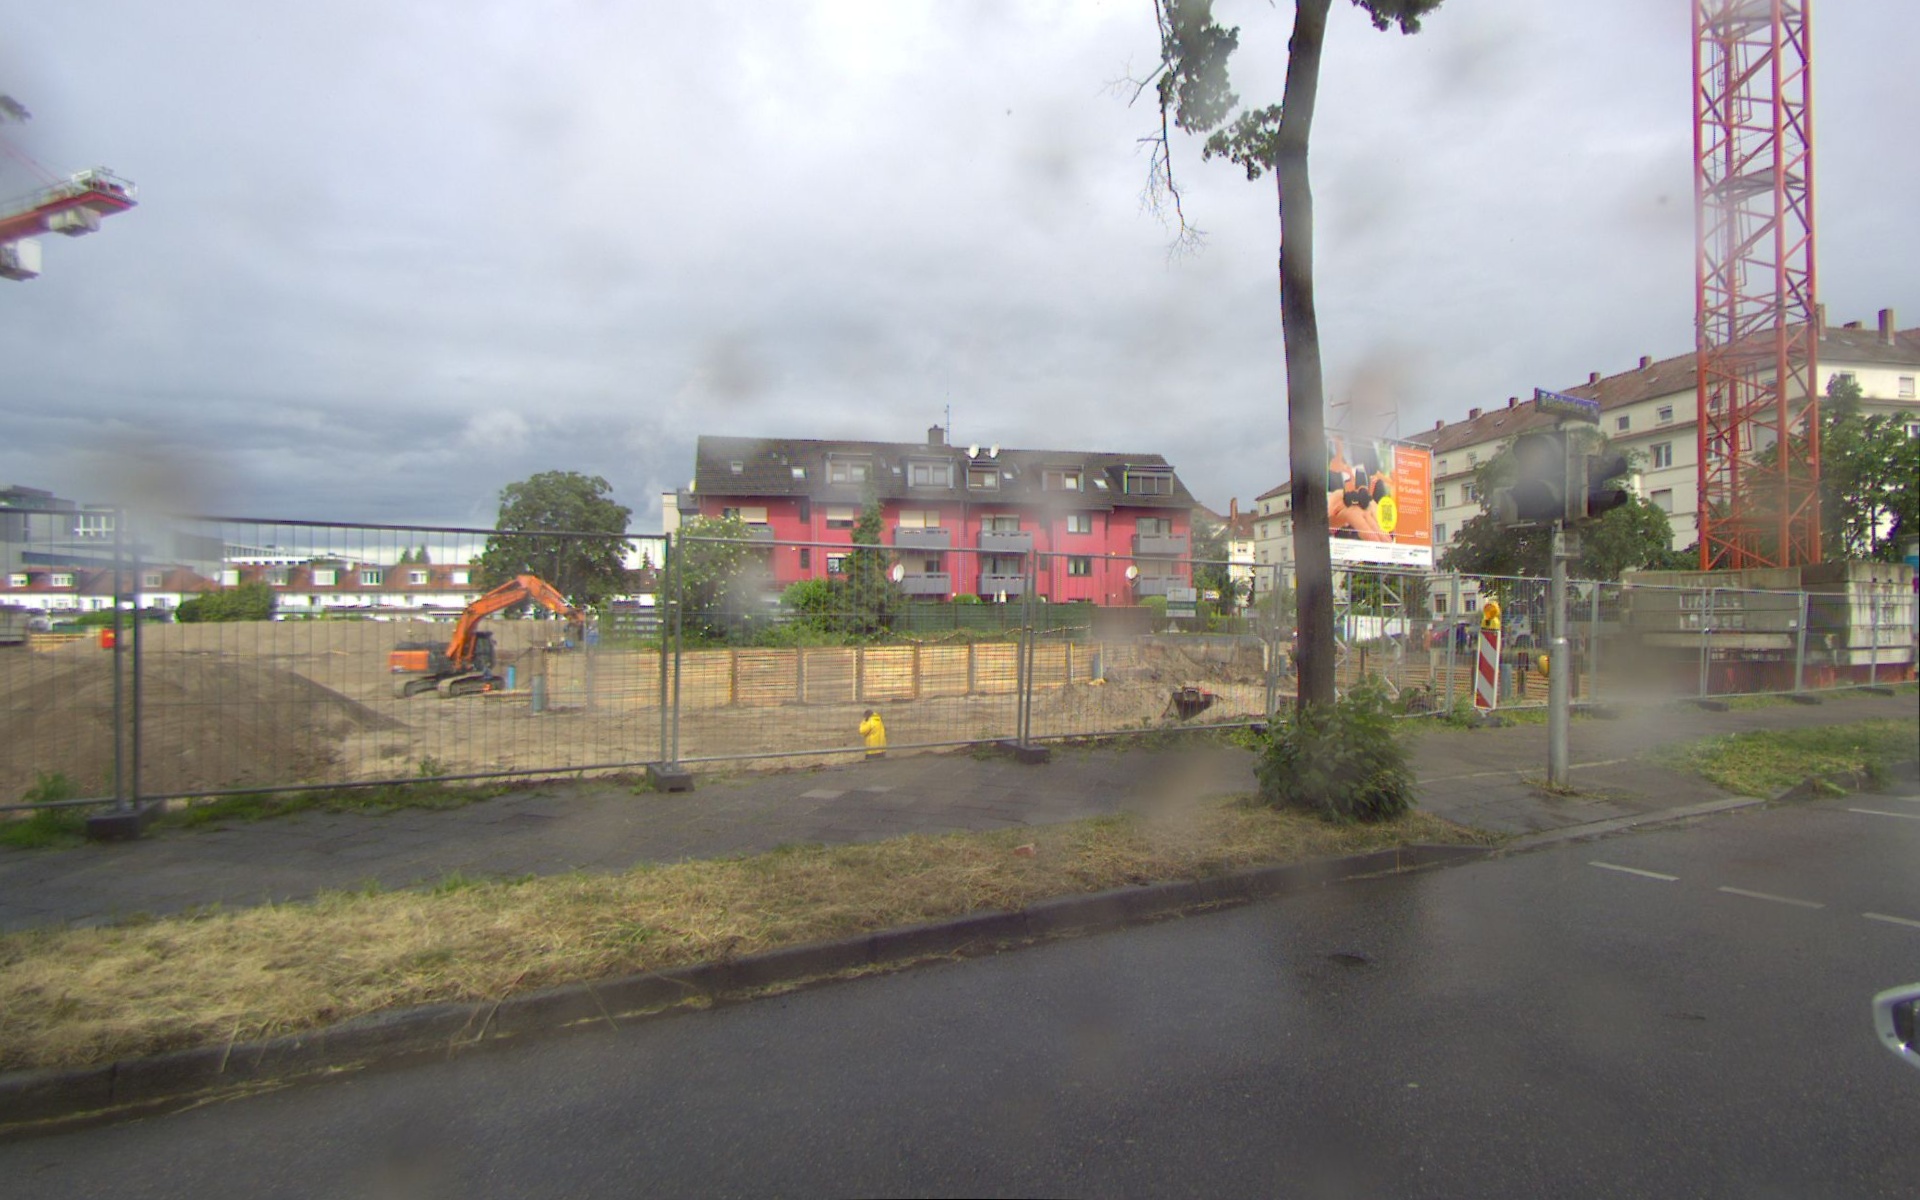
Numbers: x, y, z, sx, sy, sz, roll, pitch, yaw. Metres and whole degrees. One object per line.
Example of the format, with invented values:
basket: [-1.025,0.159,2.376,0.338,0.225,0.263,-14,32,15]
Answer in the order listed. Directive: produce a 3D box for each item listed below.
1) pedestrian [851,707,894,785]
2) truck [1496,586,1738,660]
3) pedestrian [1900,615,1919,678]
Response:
pedestrian: [-2.028,3.364,23.253,0.837,1.706,0.585,0,-4,-25]
truck: [31.408,1.194,48.784,3.729,3.226,9.816,0,-2,-15]
pedestrian: [25.622,1.229,26.690,0.710,1.651,0.684,1,0,23]
